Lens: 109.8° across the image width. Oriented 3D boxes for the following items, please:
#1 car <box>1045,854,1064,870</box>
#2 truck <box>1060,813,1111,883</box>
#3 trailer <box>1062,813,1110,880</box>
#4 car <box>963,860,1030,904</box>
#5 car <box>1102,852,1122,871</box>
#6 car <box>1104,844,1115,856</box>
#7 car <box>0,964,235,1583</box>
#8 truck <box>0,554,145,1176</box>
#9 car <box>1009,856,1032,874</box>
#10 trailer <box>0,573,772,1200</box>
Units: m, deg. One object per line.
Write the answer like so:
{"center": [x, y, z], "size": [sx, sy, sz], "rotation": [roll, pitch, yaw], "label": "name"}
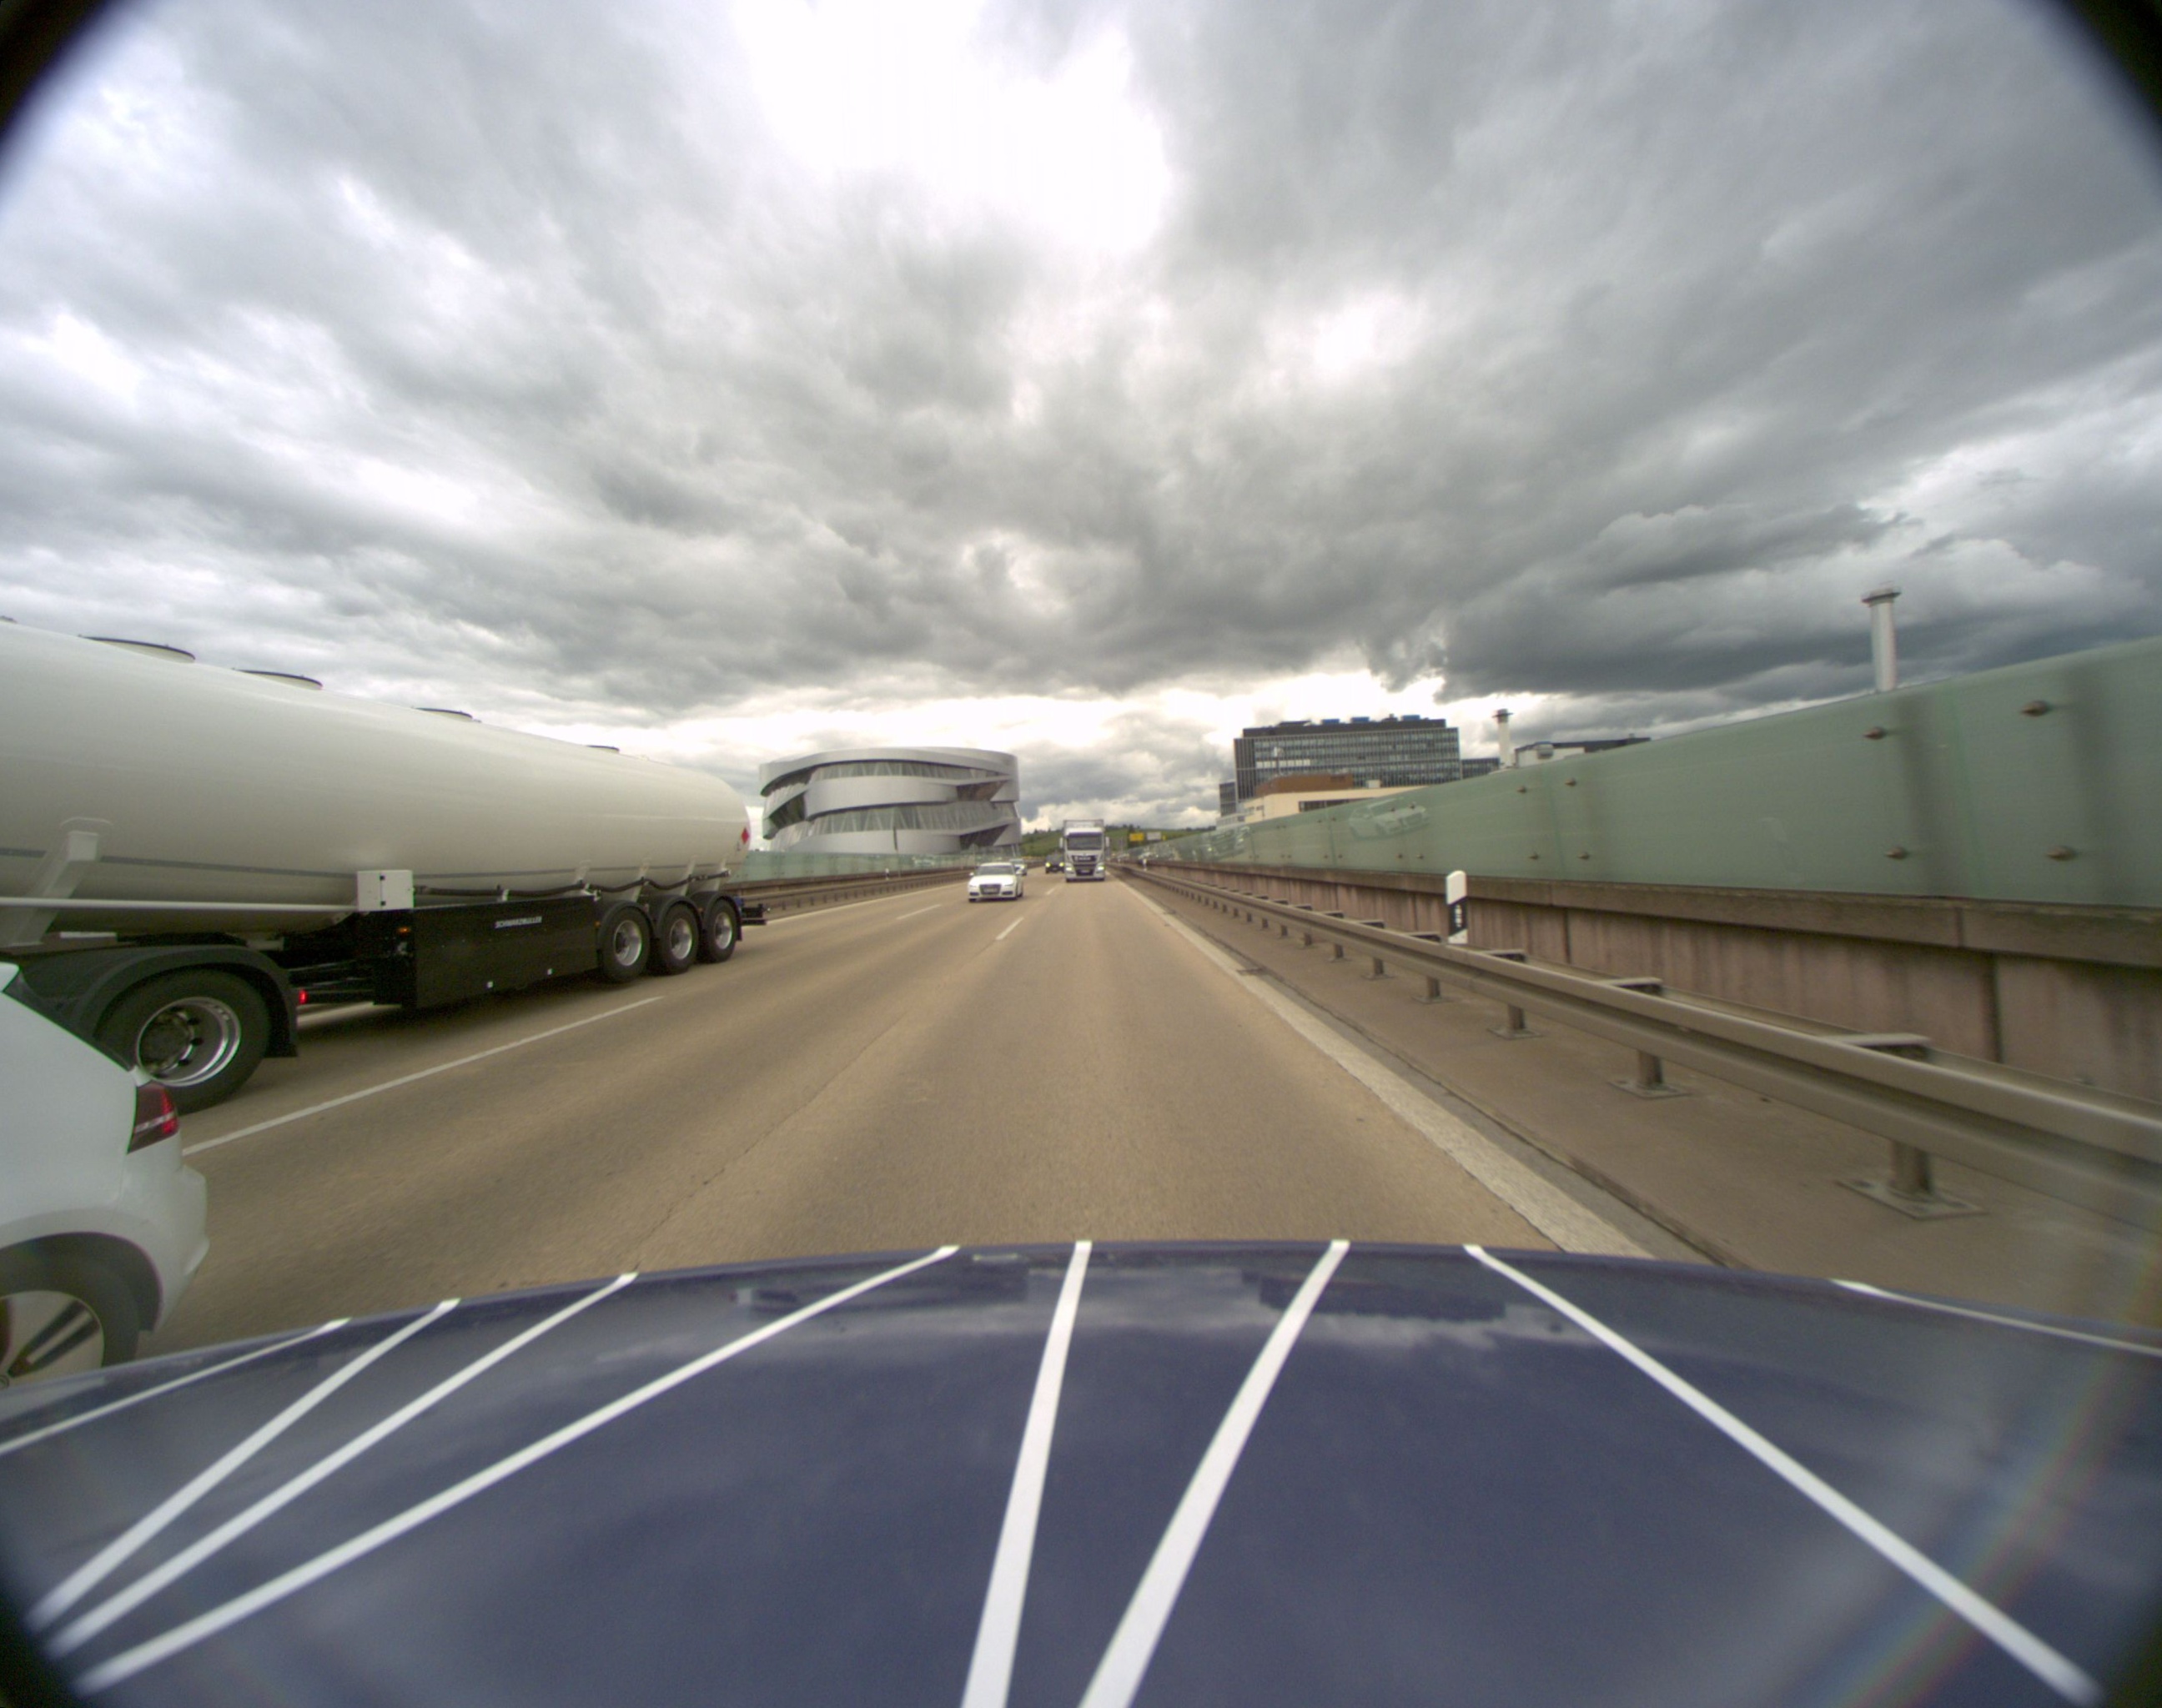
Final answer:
{"center": [-2.809, 0.856, 81.084], "size": [1.765, 1.624, 3.627], "rotation": [-2, 0, 2], "label": "car"}
{"center": [0.342, -0.384, 48.749], "size": [2.946, 4.136, 6.291], "rotation": [-2, 0, 2], "label": "truck"}
{"center": [0.412, -0.472, 52.975], "size": [2.880, 4.104, 11.220], "rotation": [-2, 0, 1], "label": "trailer"}
{"center": [-3.139, 1.015, 28.962], "size": [1.848, 1.443, 3.933], "rotation": [-2, 0, 3], "label": "car"}
{"center": [3.412, 0.763, 84.513], "size": [1.998, 2.002, 4.000], "rotation": [-2, 0, 0], "label": "car"}
{"center": [6.178, -0.952, 163.059], "size": [2.144, 2.494, 4.524], "rotation": [-2, 1, 1], "label": "car"}
{"center": [-3.544, 1.080, 0.330], "size": [1.759, 1.443, 4.072], "rotation": [-1, 0, 0], "label": "car"}
{"center": [-7.428, 0.124, 2.394], "size": [2.637, 3.494, 4.903], "rotation": [-2, 1, 1], "label": "truck"}
{"center": [-5.782, 1.029, 73.381], "size": [1.785, 1.624, 3.627], "rotation": [-2, 0, 2], "label": "car"}
{"center": [-7.334, 0.179, 8.765], "size": [2.657, 3.523, 11.219], "rotation": [-2, 0, 1], "label": "trailer"}
